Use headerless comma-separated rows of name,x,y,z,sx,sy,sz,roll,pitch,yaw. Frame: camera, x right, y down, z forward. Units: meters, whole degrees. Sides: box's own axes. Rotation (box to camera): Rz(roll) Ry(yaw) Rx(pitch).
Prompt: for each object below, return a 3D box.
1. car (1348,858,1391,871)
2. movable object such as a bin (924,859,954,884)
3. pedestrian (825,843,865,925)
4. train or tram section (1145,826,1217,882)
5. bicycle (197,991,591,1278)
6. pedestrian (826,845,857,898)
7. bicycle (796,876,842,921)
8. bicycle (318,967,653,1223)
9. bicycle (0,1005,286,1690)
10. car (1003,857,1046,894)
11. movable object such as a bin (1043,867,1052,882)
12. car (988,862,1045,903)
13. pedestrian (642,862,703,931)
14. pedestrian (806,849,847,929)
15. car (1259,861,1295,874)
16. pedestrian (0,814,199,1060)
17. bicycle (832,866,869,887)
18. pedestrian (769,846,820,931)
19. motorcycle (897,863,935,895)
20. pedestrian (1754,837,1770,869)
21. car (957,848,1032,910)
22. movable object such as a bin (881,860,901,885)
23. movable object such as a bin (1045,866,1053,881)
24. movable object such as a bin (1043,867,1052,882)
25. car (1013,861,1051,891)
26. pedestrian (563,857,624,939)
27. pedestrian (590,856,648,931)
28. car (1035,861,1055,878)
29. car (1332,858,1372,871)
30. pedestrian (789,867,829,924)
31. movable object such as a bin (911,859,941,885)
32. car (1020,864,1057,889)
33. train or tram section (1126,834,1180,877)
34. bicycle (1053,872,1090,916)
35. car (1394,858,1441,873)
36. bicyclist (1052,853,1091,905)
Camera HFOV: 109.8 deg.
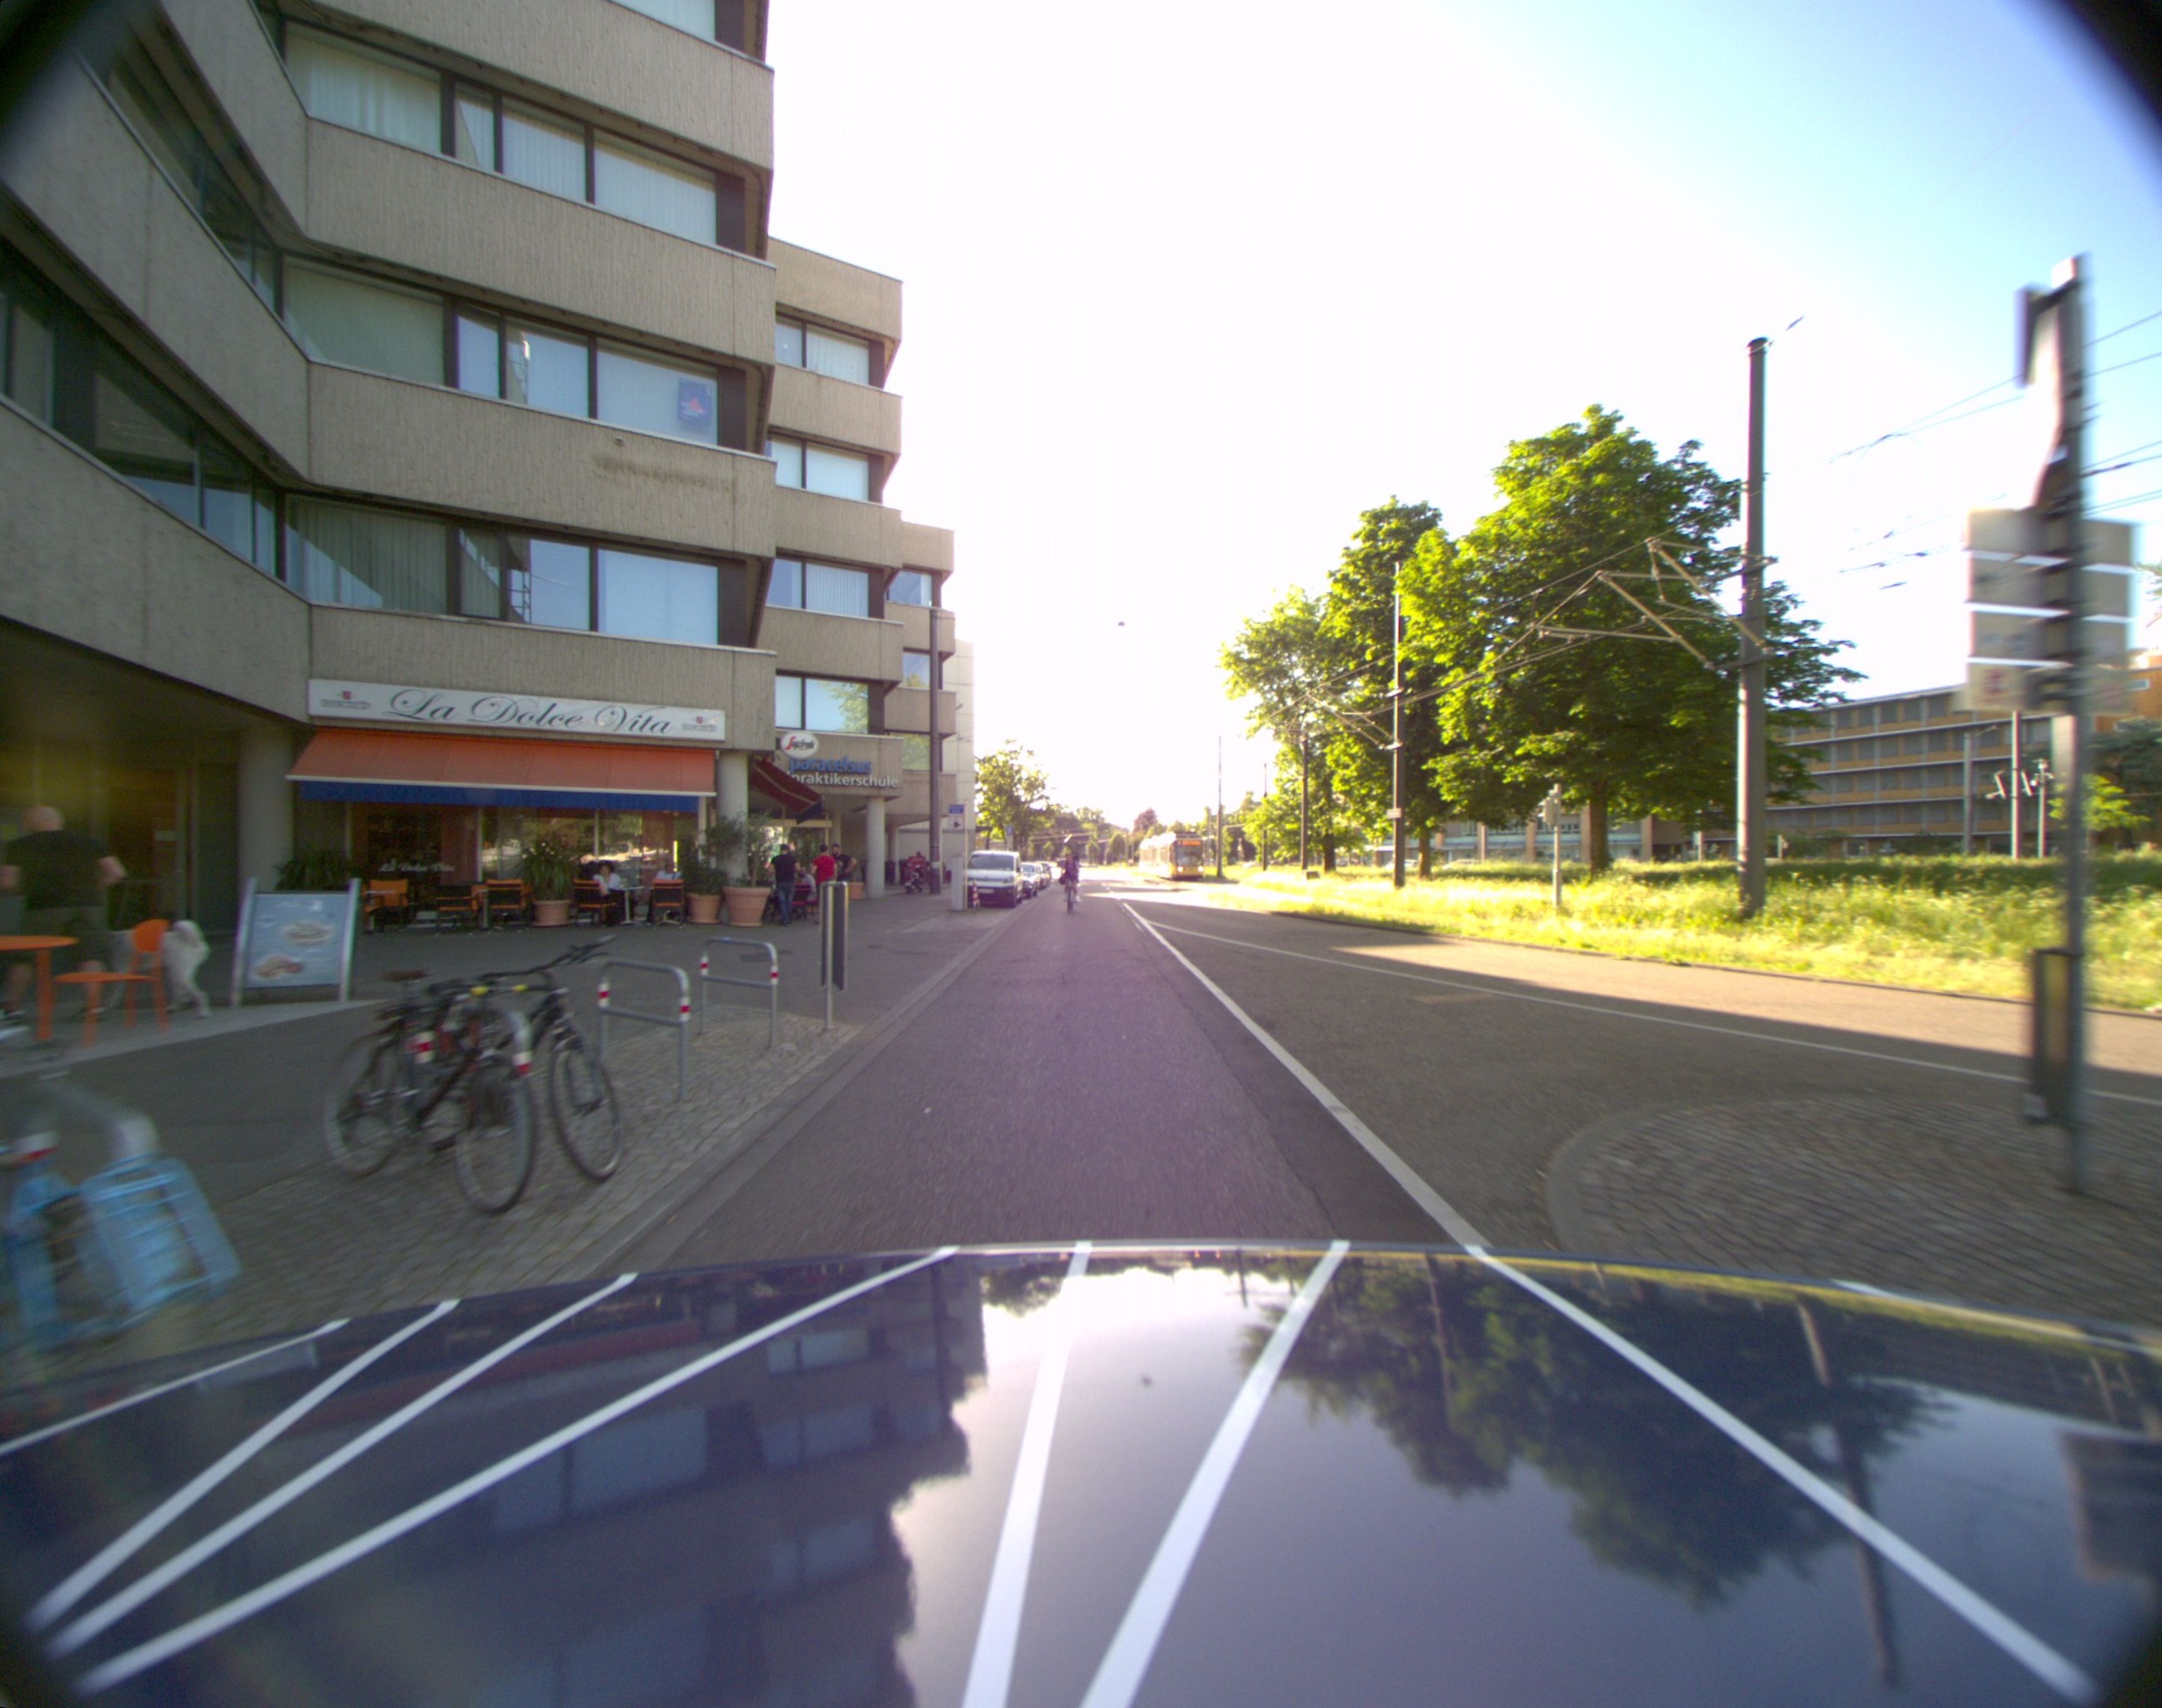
car,34.777,1.252,91.864,2.002,1.439,5.010,-2,1,-22
movable object such as a bin,-8.102,0.986,43.371,1.338,1.389,1.122,-1,1,8
pedestrian,-5.514,0.683,17.752,0.672,1.845,0.610,2,2,3
train or tram section,7.246,0.053,57.397,2.957,3.663,13.181,-1,0,-3
bicycle,-3.069,1.171,3.390,1.706,0.998,0.428,-1,1,16
pedestrian,-8.287,0.601,26.300,0.704,1.805,0.717,-1,1,13
bicycle,-6.703,1.111,19.528,0.564,1.028,1.644,-2,1,1
bicycle,-2.957,1.127,3.757,1.681,1.056,0.344,-1,1,16
bicycle,-2.933,1.092,1.901,1.623,1.236,0.660,-1,1,20
car,-2.834,1.045,38.869,1.856,1.679,3.866,-2,1,0
movable object such as a bin,-2.417,1.468,54.777,0.594,1.077,0.604,-2,1,-3
car,-2.667,1.137,32.377,1.778,1.445,4.730,-2,1,2
pedestrian,-7.951,0.807,14.828,0.844,1.285,0.830,1,1,-12
pedestrian,-5.554,0.745,16.610,0.585,1.705,0.698,-2,1,3
car,27.442,1.909,106.783,2.109,1.724,5.075,-1,0,-26
pedestrian,-8.031,0.590,5.899,1.020,1.732,1.137,-1,1,14
bicycle,-11.159,1.104,36.723,1.853,0.975,0.683,-2,0,34
pedestrian,-5.913,0.699,15.666,0.845,1.700,0.718,2,0,-28
motorcycle,-6.654,0.980,30.765,0.765,1.148,2.049,2,2,10
pedestrian,35.258,-0.043,39.361,0.553,1.606,0.676,-1,2,38
car,-2.785,0.752,25.469,1.999,1.802,4.308,-2,1,0
movable object such as a bin,-10.571,1.015,42.345,0.794,1.375,0.852,-1,1,8
movable object such as a bin,-2.439,1.481,57.746,0.621,1.063,0.610,-2,1,-3
movable object such as a bin,-2.438,1.485,55.370,0.612,1.099,0.525,-2,1,-3
car,-2.693,1.198,42.846,1.675,1.510,4.199,-2,1,2
pedestrian,-8.731,0.768,13.646,0.845,1.394,0.751,-2,0,-30
pedestrian,-8.857,0.738,14.603,0.845,1.394,0.829,-1,0,-25
car,-3.242,1.381,68.426,1.770,1.429,4.582,0,-1,-2
car,37.388,1.445,104.926,2.127,1.658,5.200,-2,1,-25
pedestrian,-6.159,0.923,17.215,0.631,1.229,0.624,2,1,3
movable object such as a bin,-8.612,0.996,42.237,1.303,1.425,0.959,-1,1,8
car,-2.626,1.350,47.622,1.855,1.336,4.599,-1,1,2
train or tram section,6.429,0.191,70.519,2.957,3.591,13.631,-1,0,-3
bicycle,-0.247,1.153,22.335,0.887,1.129,2.229,-2,1,3
car,37.786,1.260,85.426,2.002,1.587,4.646,-2,1,-26
bicyclist,-0.270,0.723,22.395,1.040,1.475,0.988,-2,1,3
